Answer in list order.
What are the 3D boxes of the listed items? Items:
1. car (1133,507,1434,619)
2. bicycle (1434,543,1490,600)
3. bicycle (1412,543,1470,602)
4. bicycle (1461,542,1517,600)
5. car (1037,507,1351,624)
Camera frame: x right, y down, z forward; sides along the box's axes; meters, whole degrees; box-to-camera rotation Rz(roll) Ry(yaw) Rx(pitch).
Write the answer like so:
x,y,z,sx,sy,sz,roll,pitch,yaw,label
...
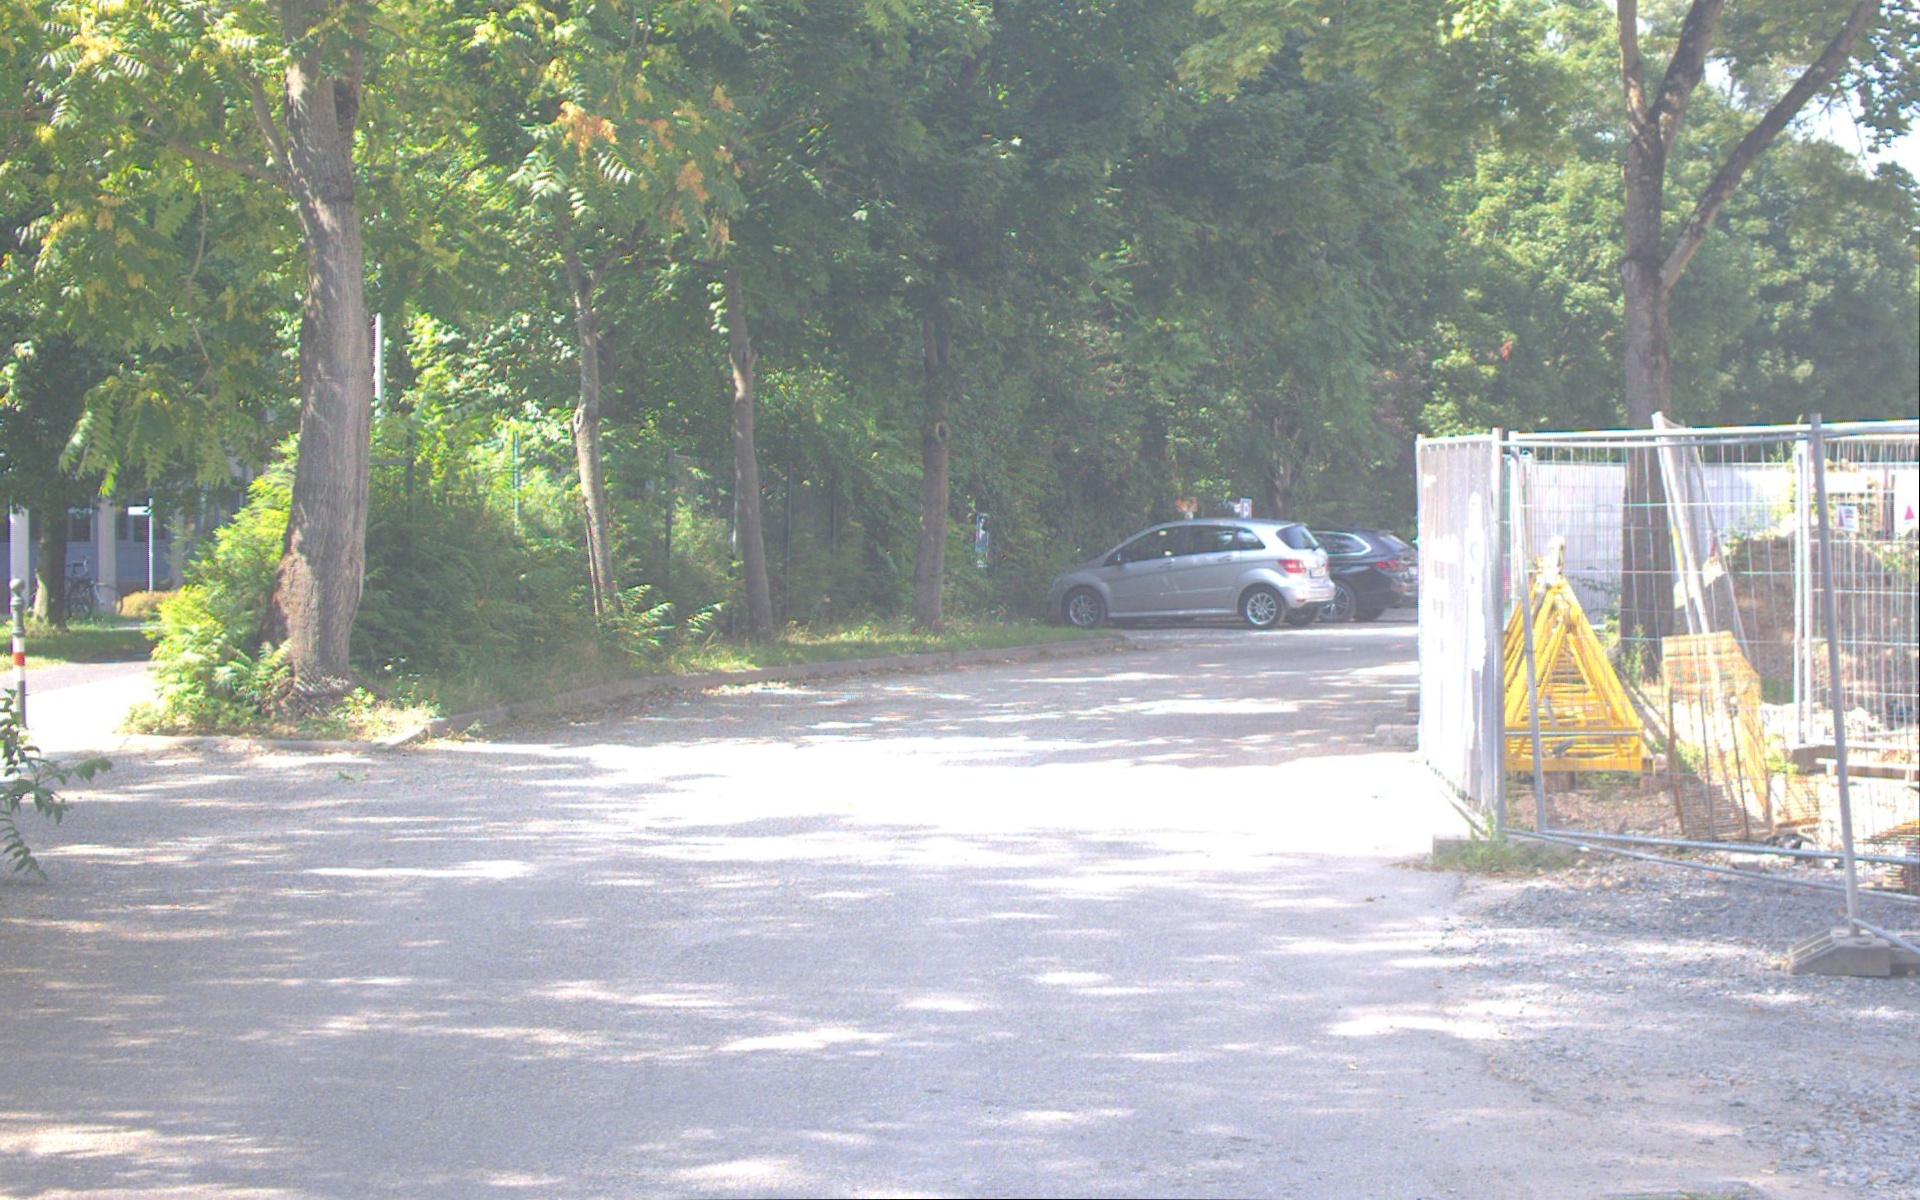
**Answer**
x,y,z,sx,sy,sz,roll,pitch,yaw,label
4.958,-0.586,52.695,4.153,1.607,1.998,1,2,24,car
9.883,-0.572,67.658,0.499,1.104,1.797,1,2,28,bicycle
9.178,-0.540,65.604,0.499,1.104,1.797,1,2,28,bicycle
10.385,-0.574,67.453,0.499,1.104,1.797,1,2,28,bicycle
3.438,-0.531,50.504,4.153,1.607,1.998,1,2,24,car
